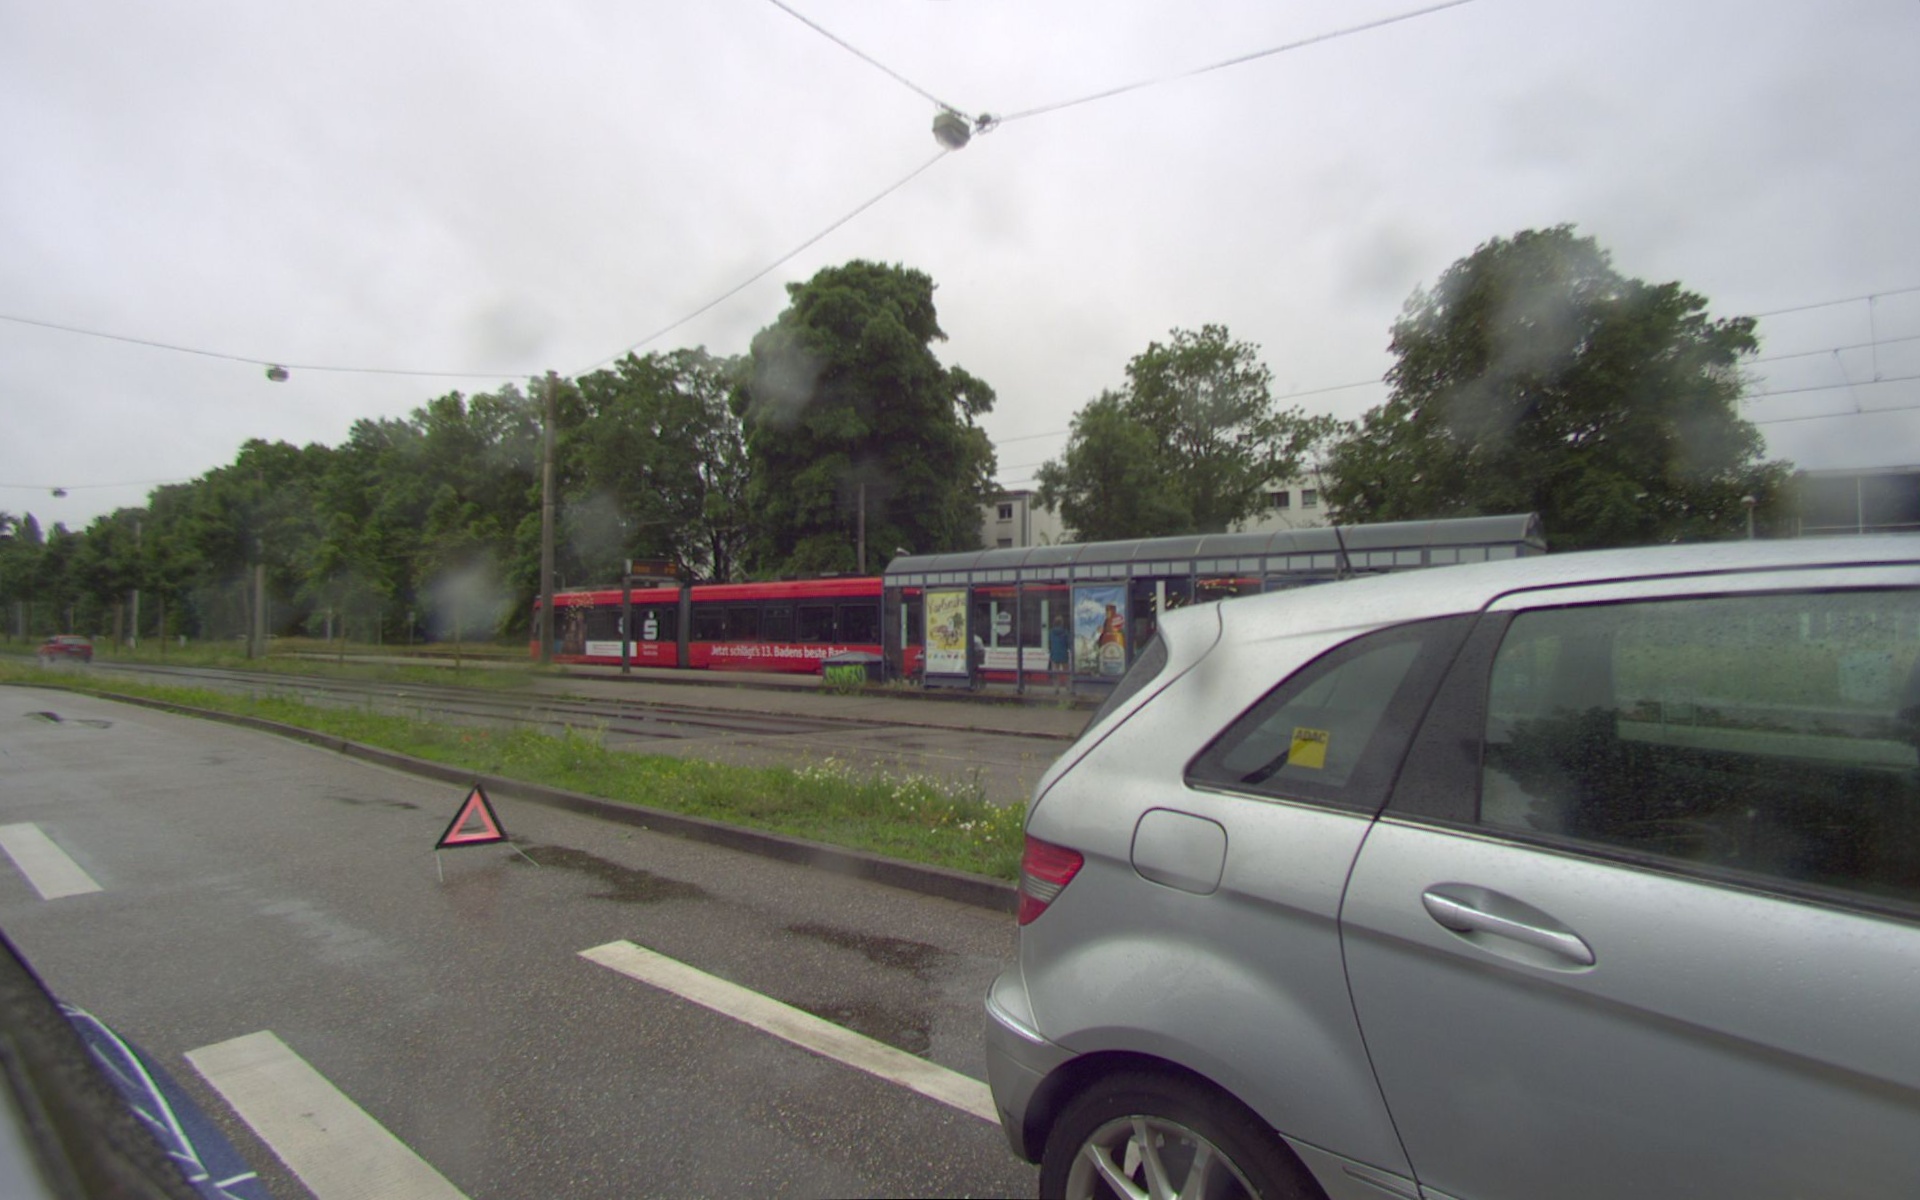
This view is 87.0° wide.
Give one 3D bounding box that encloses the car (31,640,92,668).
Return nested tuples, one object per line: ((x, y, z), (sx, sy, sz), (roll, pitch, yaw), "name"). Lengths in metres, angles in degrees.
((-46.814, 2.780, 52.712), (4.247, 1.371, 1.663), (-2, -5, 39), "car")

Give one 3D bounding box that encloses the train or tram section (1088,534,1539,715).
((7.815, 0.607, 23.518), (9.274, 3.416, 3.495), (-2, -3, 42), "train or tram section")

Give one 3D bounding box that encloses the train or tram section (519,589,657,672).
((-16.718, 1.378, 45.425), (5.767, 3.444, 3.495), (-2, -3, 42), "train or tram section")

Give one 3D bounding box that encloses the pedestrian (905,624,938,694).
((-0.890, 1.350, 23.299), (0.514, 1.574, 0.603), (0, -1, -35), "pedestrian")

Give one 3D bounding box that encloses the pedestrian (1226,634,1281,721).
((5.098, 1.324, 17.592), (0.699, 1.464, 0.618), (-2, -3, 43), "pedestrian")

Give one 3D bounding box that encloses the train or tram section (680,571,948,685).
((-5.360, 1.018, 35.289), (10.257, 3.427, 3.495), (-2, -3, 42), "train or tram section")

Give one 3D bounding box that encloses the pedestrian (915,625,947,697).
((-0.654, 1.349, 22.615), (0.437, 1.574, 0.603), (0, -1, -35), "pedestrian")

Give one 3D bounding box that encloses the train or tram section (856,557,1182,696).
((1.413, 0.797, 29.237), (9.274, 3.416, 3.495), (-2, -3, 42), "train or tram section")

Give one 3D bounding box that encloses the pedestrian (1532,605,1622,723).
((9.290, 0.934, 15.240), (0.996, 1.688, 0.914), (-1, -1, 41), "pedestrian")

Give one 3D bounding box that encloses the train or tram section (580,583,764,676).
((-11.776, 1.219, 41.005), (7.899, 3.438, 3.495), (-2, -3, 42), "train or tram section")

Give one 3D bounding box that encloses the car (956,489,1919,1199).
((2.061, 0.651, 1.402), (4.011, 1.556, 1.718), (-2, -2, 41), "car")

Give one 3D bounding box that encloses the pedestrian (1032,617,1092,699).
((2.062, 1.151, 20.480), (0.929, 1.609, 0.795), (-2, -3, 44), "pedestrian")
